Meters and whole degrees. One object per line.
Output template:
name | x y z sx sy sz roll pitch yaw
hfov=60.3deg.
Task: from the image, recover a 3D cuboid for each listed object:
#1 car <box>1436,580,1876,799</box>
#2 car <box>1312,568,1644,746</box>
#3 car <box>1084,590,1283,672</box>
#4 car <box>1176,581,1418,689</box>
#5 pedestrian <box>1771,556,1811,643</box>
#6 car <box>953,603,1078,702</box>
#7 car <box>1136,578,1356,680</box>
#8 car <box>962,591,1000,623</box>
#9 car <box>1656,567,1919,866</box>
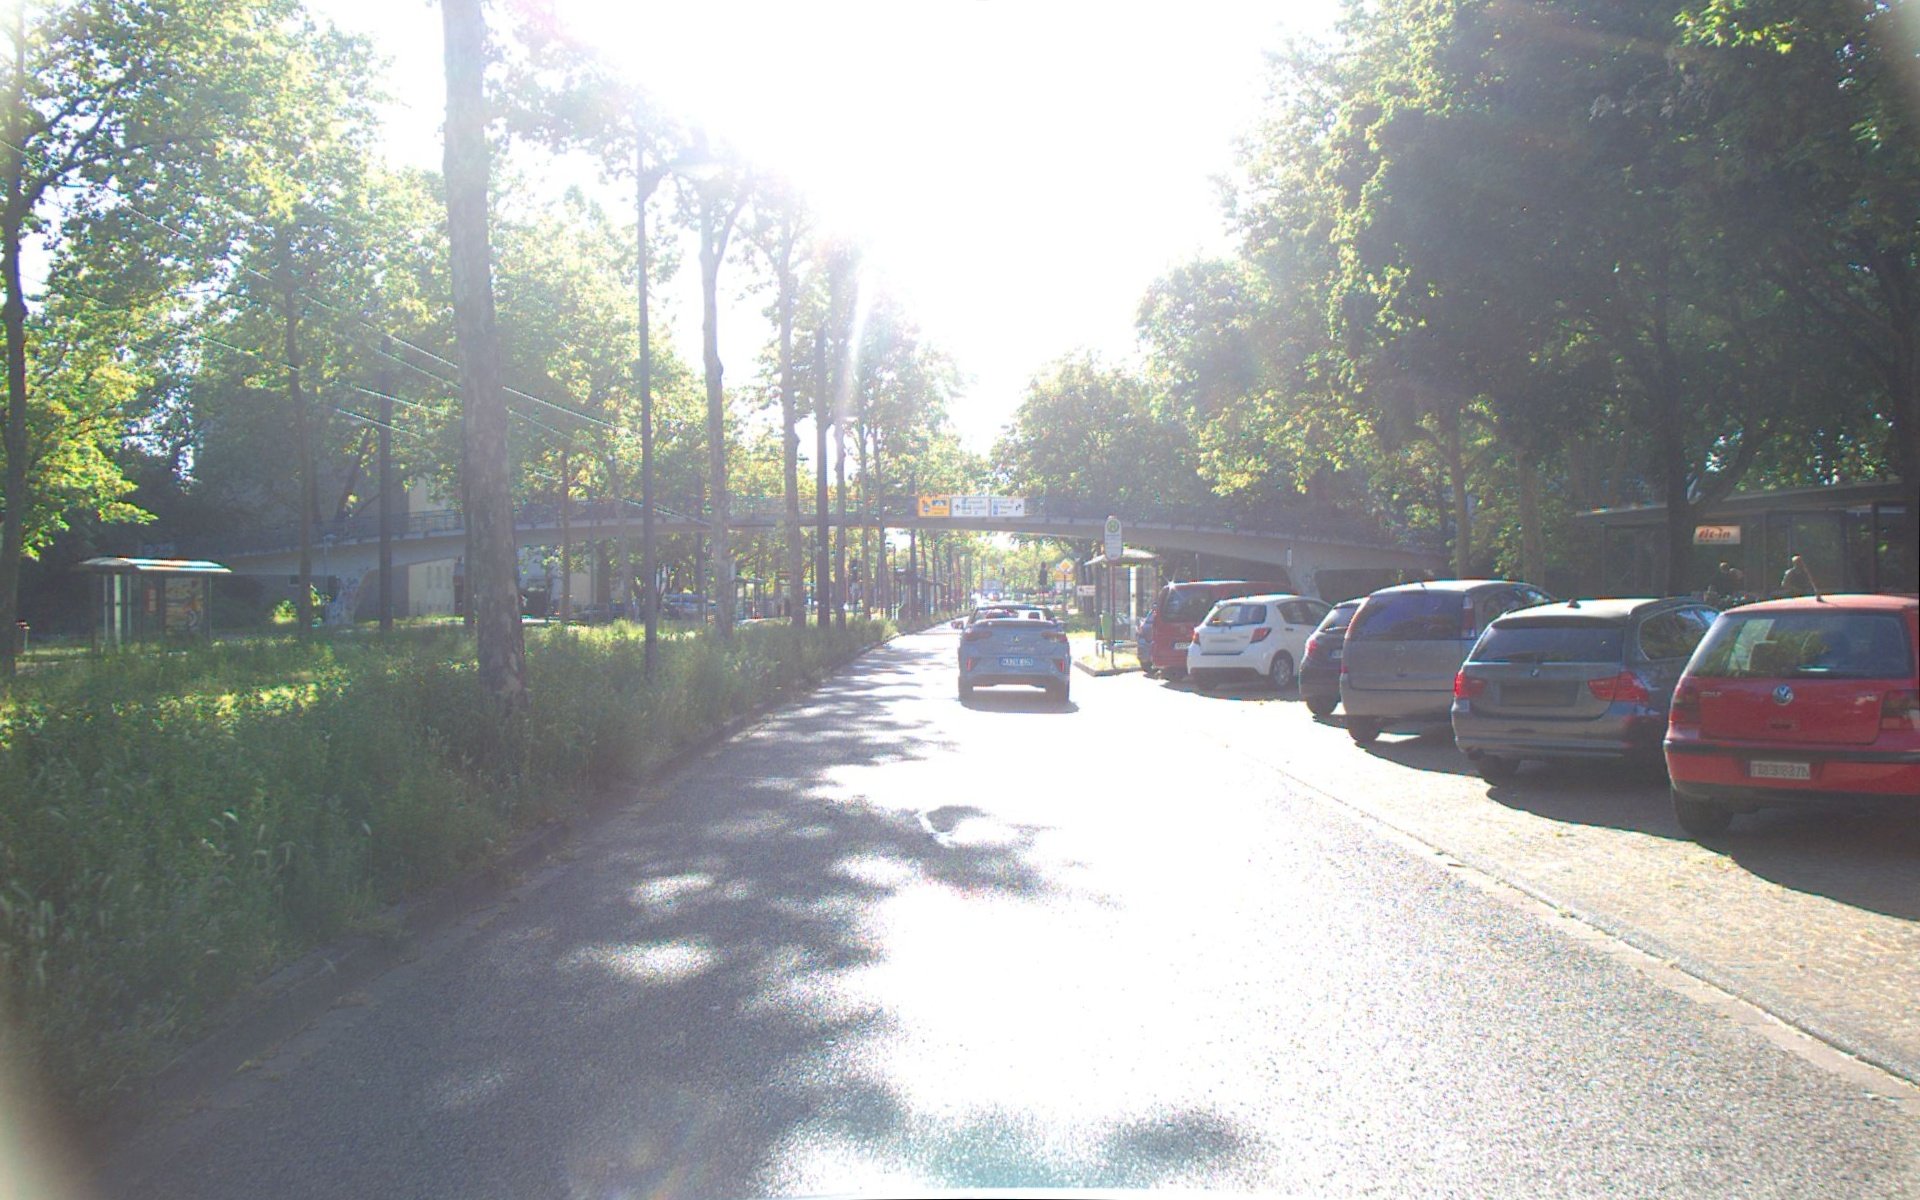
car | 6.063 0.624 14.105 4.589 1.548 1.827 -1 0 -44
car | 5.816 0.552 18.211 1.822 1.710 4.586 -3 -1 40
car | 4.862 0.631 35.530 4.589 1.642 1.827 0 0 -44
car | 5.844 0.552 28.368 4.589 1.710 1.827 0 0 -44
pedestrian | 19.834 -0.014 39.461 0.735 2.049 0.819 -1 0 35
car | 0.832 0.801 27.042 1.883 1.435 4.000 0 1 0
car | 5.529 0.521 31.640 4.589 1.799 1.827 0 0 -44
car | 1.094 0.356 88.203 1.953 1.680 4.000 1 0 -1
car | 6.420 0.624 10.791 4.589 1.597 1.827 0 0 -44
